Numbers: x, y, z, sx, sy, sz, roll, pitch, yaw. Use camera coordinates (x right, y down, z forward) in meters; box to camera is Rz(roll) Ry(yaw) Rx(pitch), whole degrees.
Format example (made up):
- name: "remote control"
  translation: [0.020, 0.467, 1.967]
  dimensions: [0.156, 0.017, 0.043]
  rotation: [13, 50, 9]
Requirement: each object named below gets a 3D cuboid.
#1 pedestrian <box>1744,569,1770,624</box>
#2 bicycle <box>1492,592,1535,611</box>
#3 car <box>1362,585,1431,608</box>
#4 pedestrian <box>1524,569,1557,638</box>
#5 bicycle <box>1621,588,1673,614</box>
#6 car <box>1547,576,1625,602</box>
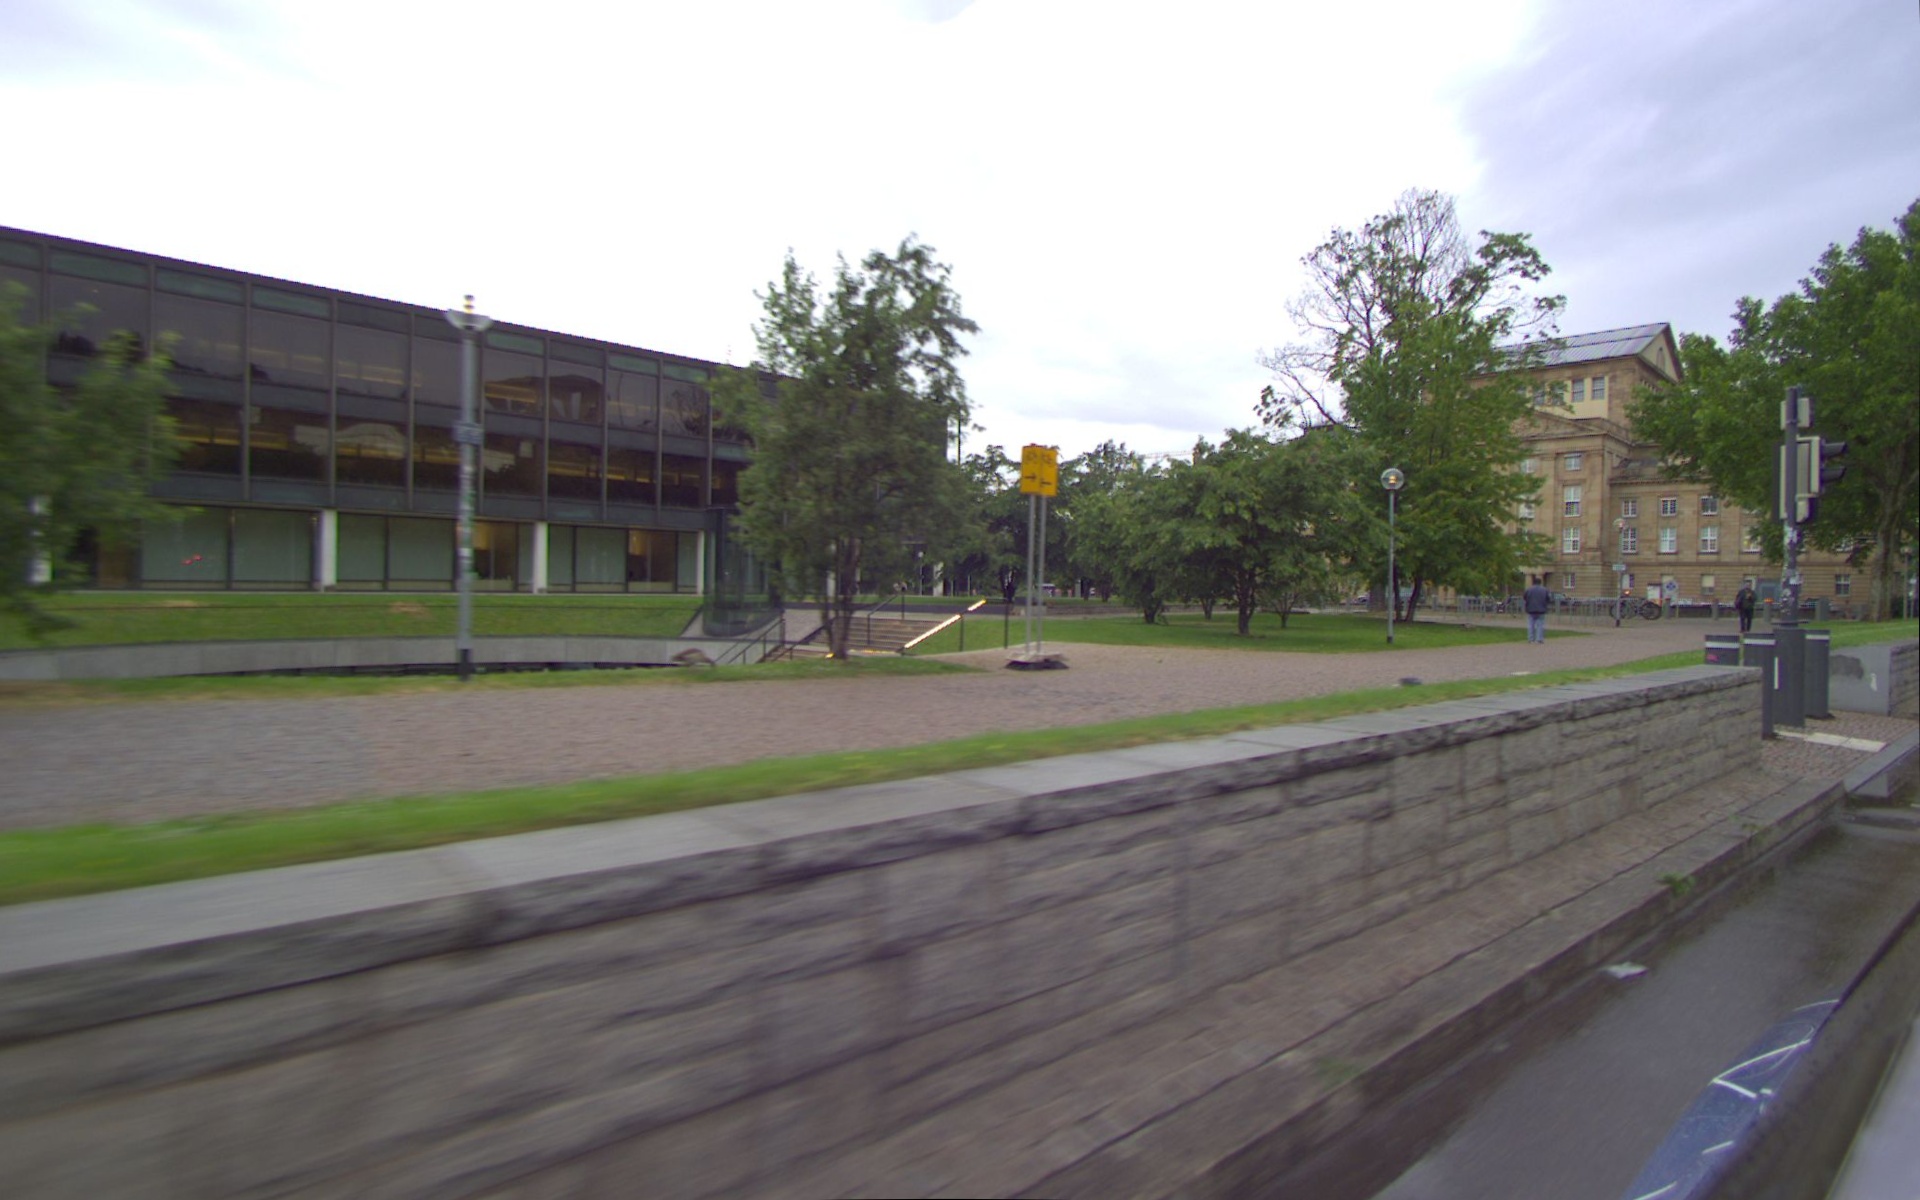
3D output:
- name: "pedestrian"
  translation: [26.355, -0.106, 33.450]
  dimensions: [0.577, 1.796, 0.593]
  rotation: [0, -1, -44]
- name: "bicycle"
  translation: [23.907, 0.064, 43.773]
  dimensions: [1.611, 0.806, 0.505]
  rotation: [1, 0, 29]
- name: "car"
  translation: [32.167, -0.262, 74.601]
  dimensions: [1.925, 1.614, 4.286]
  rotation: [0, 0, -44]
- name: "pedestrian"
  translation: [14.406, 0.082, 25.105]
  dimensions: [0.665, 1.686, 0.582]
  rotation: [2, 1, 32]
- name: "bicycle"
  translation: [29.346, 0.034, 43.259]
  dimensions: [1.740, 1.079, 0.820]
  rotation: [-1, 0, 28]
- name: "car"
  translation: [40.092, -0.688, 64.879]
  dimensions: [1.925, 1.614, 3.939]
  rotation: [0, 0, -44]
